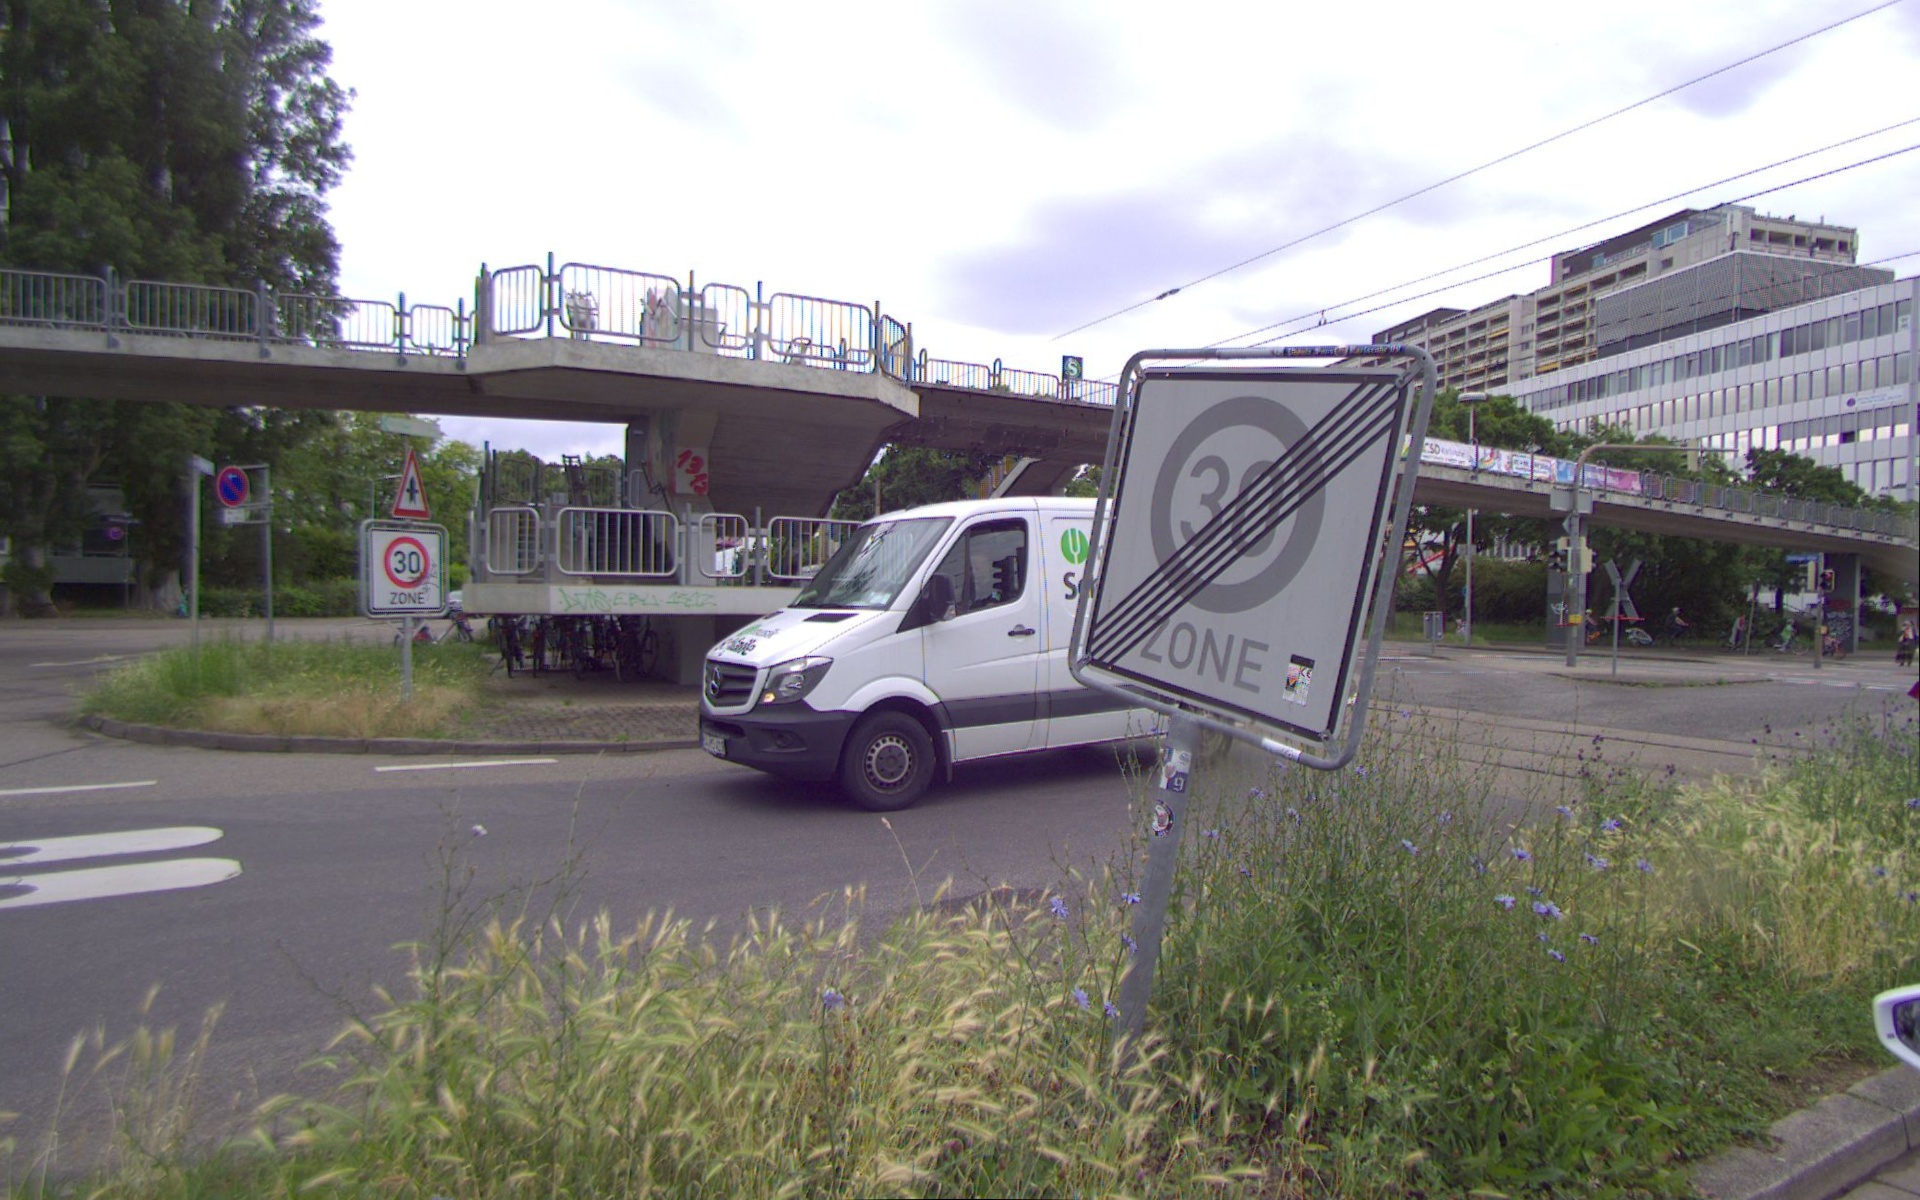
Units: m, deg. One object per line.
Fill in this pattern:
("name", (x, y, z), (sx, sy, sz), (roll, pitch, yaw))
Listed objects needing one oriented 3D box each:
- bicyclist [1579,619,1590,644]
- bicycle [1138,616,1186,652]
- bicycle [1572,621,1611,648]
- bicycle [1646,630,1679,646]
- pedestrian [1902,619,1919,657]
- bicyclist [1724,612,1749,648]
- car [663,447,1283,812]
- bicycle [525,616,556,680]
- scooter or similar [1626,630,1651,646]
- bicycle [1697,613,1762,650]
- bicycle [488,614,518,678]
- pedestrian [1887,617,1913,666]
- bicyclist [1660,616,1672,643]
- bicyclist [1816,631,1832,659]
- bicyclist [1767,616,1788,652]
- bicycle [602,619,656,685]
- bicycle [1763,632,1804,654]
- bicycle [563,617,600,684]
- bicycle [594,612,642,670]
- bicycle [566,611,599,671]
("bicyclist", (32.136, 1.636, 51.702), (0.274, 1.270, 0.402), (1, 1, -36))
("bicycle", (5.735, 0.954, 28.625), (0.368, 0.934, 2.029), (1, 0, -18))
("bicycle", (32.359, 1.775, 51.490), (0.385, 1.321, 1.693), (1, 1, -34))
("bicycle", (34.588, 1.868, 49.447), (1.273, 0.701, 0.290), (1, 1, 25))
("pedestrian", (41.319, 1.650, 43.604), (0.572, 1.600, 0.777), (2, 0, 42))
("bicyclist", (36.175, 1.412, 46.794), (0.522, 1.647, 0.744), (1, 0, -31))
("car", (0.298, 0.241, 8.751), (5.155, 2.322, 2.120), (1, -2, -35))
("bicycle", (-6.493, 0.719, 15.514), (0.389, 0.897, 1.632), (1, 0, -24))
("scooter or similar", (33.691, 1.880, 49.874), (0.978, 0.724, 0.406), (1, 0, 26))
("bicycle", (36.021, 1.472, 47.044), (0.522, 1.647, 2.346), (1, 0, -30))
("bicycle", (-6.994, 0.675, 15.379), (0.389, 0.897, 1.632), (1, 0, -24))
("pedestrian", (33.306, 1.463, 35.592), (0.402, 1.714, 0.612), (1, 1, -43))
("bicyclist", (34.722, 1.459, 49.392), (0.376, 1.321, 0.278), (1, 1, 24))
("bicyclist", (38.237, 1.984, 44.451), (0.372, 1.197, 0.403), (0, 1, -28))
("bicyclist", (37.717, 1.569, 46.351), (0.525, 1.666, 0.562), (2, 0, -29))
("bicycle", (-4.927, 0.748, 15.044), (0.387, 0.897, 1.741), (1, 0, -6))
("bicycle", (37.756, 1.958, 46.030), (2.493, 0.938, 0.628), (1, 1, -31))
("bicycle", (-5.537, 0.712, 14.675), (0.389, 0.897, 1.632), (1, 0, -24))
("bicycle", (-5.729, 0.664, 16.786), (0.390, 0.897, 1.628), (1, 0, -32))
("bicycle", (-6.183, 0.642, 16.402), (0.389, 0.897, 1.632), (1, 0, -24))
